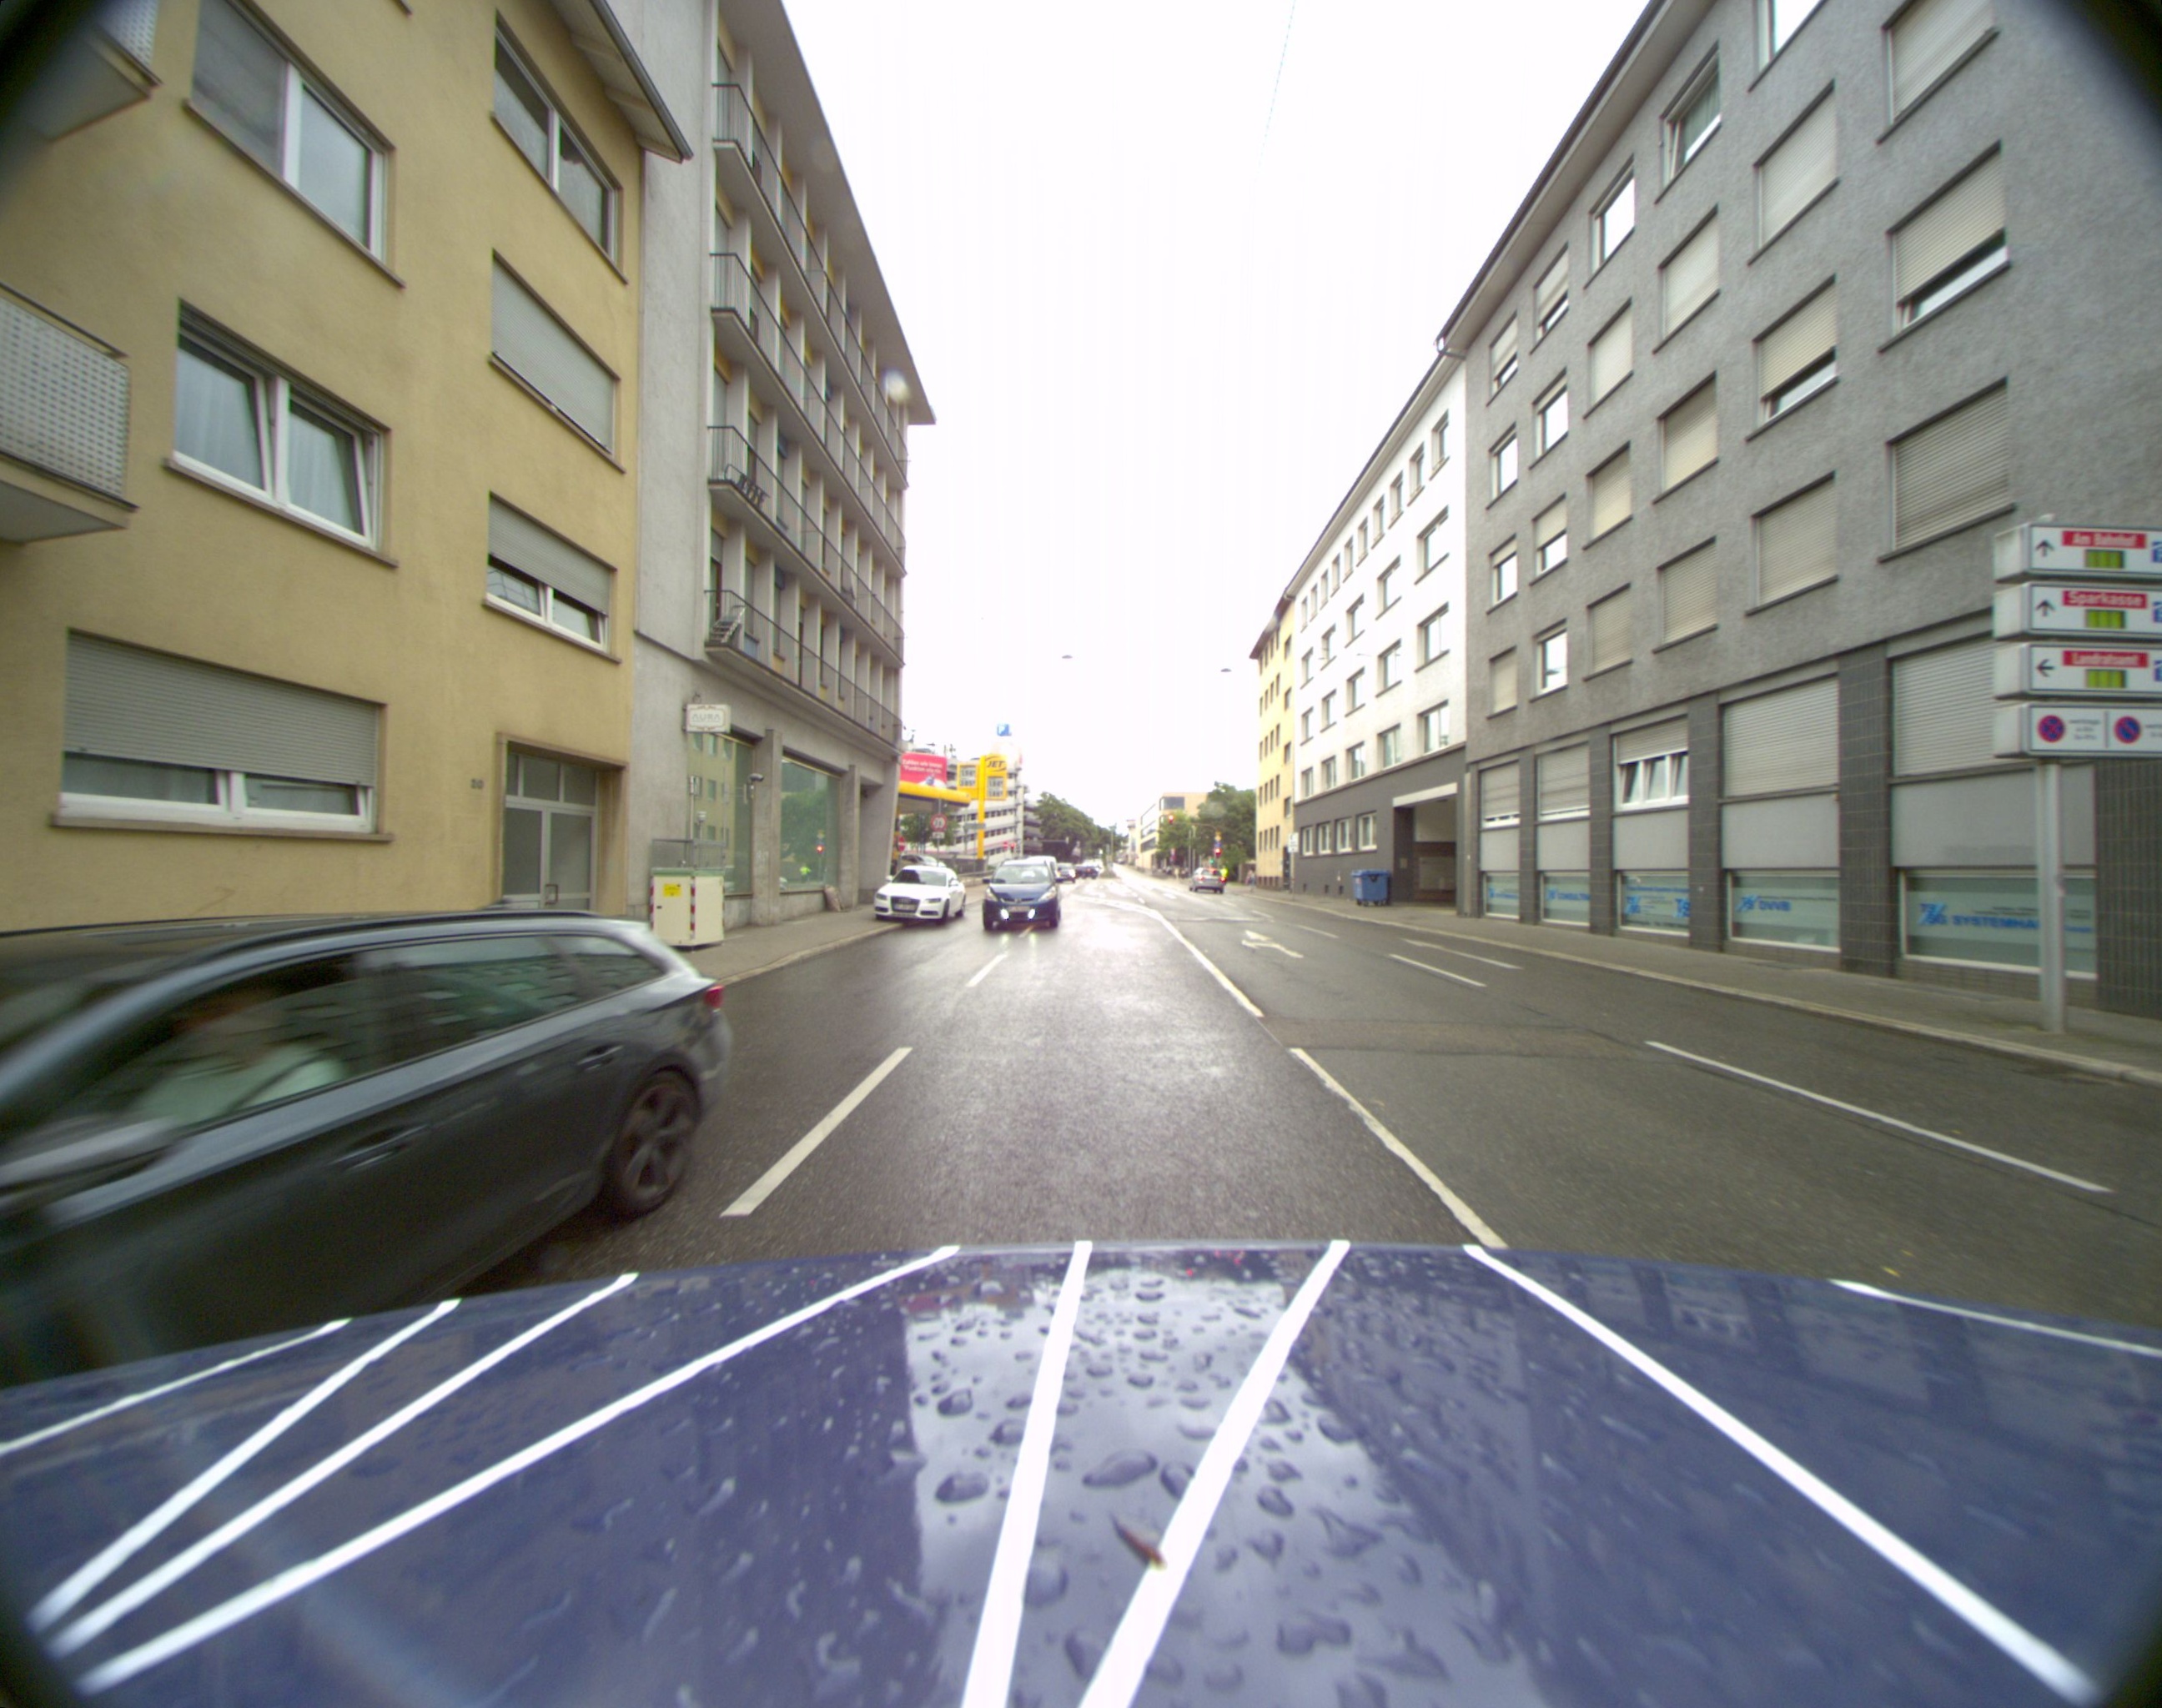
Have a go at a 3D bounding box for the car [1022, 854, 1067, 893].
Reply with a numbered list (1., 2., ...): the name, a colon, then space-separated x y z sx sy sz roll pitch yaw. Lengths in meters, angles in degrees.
1. car: -1.744 0.941 37.674 1.804 1.817 3.951 -2 -1 3

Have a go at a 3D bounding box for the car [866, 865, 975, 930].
1. car: -4.211 1.079 20.683 1.898 1.394 4.608 5 -1 -1

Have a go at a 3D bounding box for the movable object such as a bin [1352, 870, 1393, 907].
1. movable object such as a bin: 10.697 1.245 27.949 1.079 1.316 1.191 -1 0 2

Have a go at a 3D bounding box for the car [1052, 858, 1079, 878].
1. car: -1.219 1.129 61.413 1.804 1.561 3.951 -2 -1 3

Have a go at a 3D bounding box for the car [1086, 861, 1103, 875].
1. car: 1.541 1.563 86.622 1.812 1.585 4.296 1 -1 3

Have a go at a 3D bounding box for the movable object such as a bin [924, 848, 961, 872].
1. movable object such as a bin: -9.481 0.399 52.120 2.160 1.546 1.773 2 0 2

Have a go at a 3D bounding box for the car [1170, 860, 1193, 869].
1. car: 18.591 1.913 140.666 3.995 1.575 2.001 -1 0 6

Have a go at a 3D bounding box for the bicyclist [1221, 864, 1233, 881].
1. bicyclist: 12.054 1.515 62.556 0.844 1.433 0.813 -1 0 4

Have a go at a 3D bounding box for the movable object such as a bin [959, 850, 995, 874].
1. movable object such as a bin: -7.109 0.549 52.184 2.160 1.565 1.773 1 0 2

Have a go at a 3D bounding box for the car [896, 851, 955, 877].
1. car: -9.928 0.622 48.273 1.750 1.433 3.987 2 0 -45

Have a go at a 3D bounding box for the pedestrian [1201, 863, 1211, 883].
1. pedestrian: 10.566 1.621 64.031 0.719 1.679 0.811 -1 0 3

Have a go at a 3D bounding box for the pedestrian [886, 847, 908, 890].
1. pedestrian: -7.764 0.612 32.099 0.661 1.761 0.528 3 1 -41

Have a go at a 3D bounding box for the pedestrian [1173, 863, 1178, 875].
1. pedestrian: 13.308 2.137 107.328 0.595 1.761 0.692 -1 0 1

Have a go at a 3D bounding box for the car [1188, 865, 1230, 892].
1. car: 7.672 1.435 45.886 1.831 1.408 4.296 4 -1 1

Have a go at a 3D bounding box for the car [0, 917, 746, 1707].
1. car: -2.800 1.038 2.006 1.739 1.380 4.583 -1 0 1

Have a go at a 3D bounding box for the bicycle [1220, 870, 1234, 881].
1. bicycle: 11.995 1.753 62.442 0.887 0.902 1.867 -1 0 4

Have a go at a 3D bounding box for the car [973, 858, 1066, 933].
1. car: -1.399 0.944 18.862 1.845 1.646 4.001 0 -1 2

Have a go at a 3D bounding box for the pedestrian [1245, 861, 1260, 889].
1. pedestrian: 10.455 1.278 46.345 0.719 1.679 0.811 -1 0 3

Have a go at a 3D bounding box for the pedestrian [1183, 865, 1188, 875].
1. pedestrian: 14.746 2.259 107.421 0.622 1.368 0.475 -1 0 2
